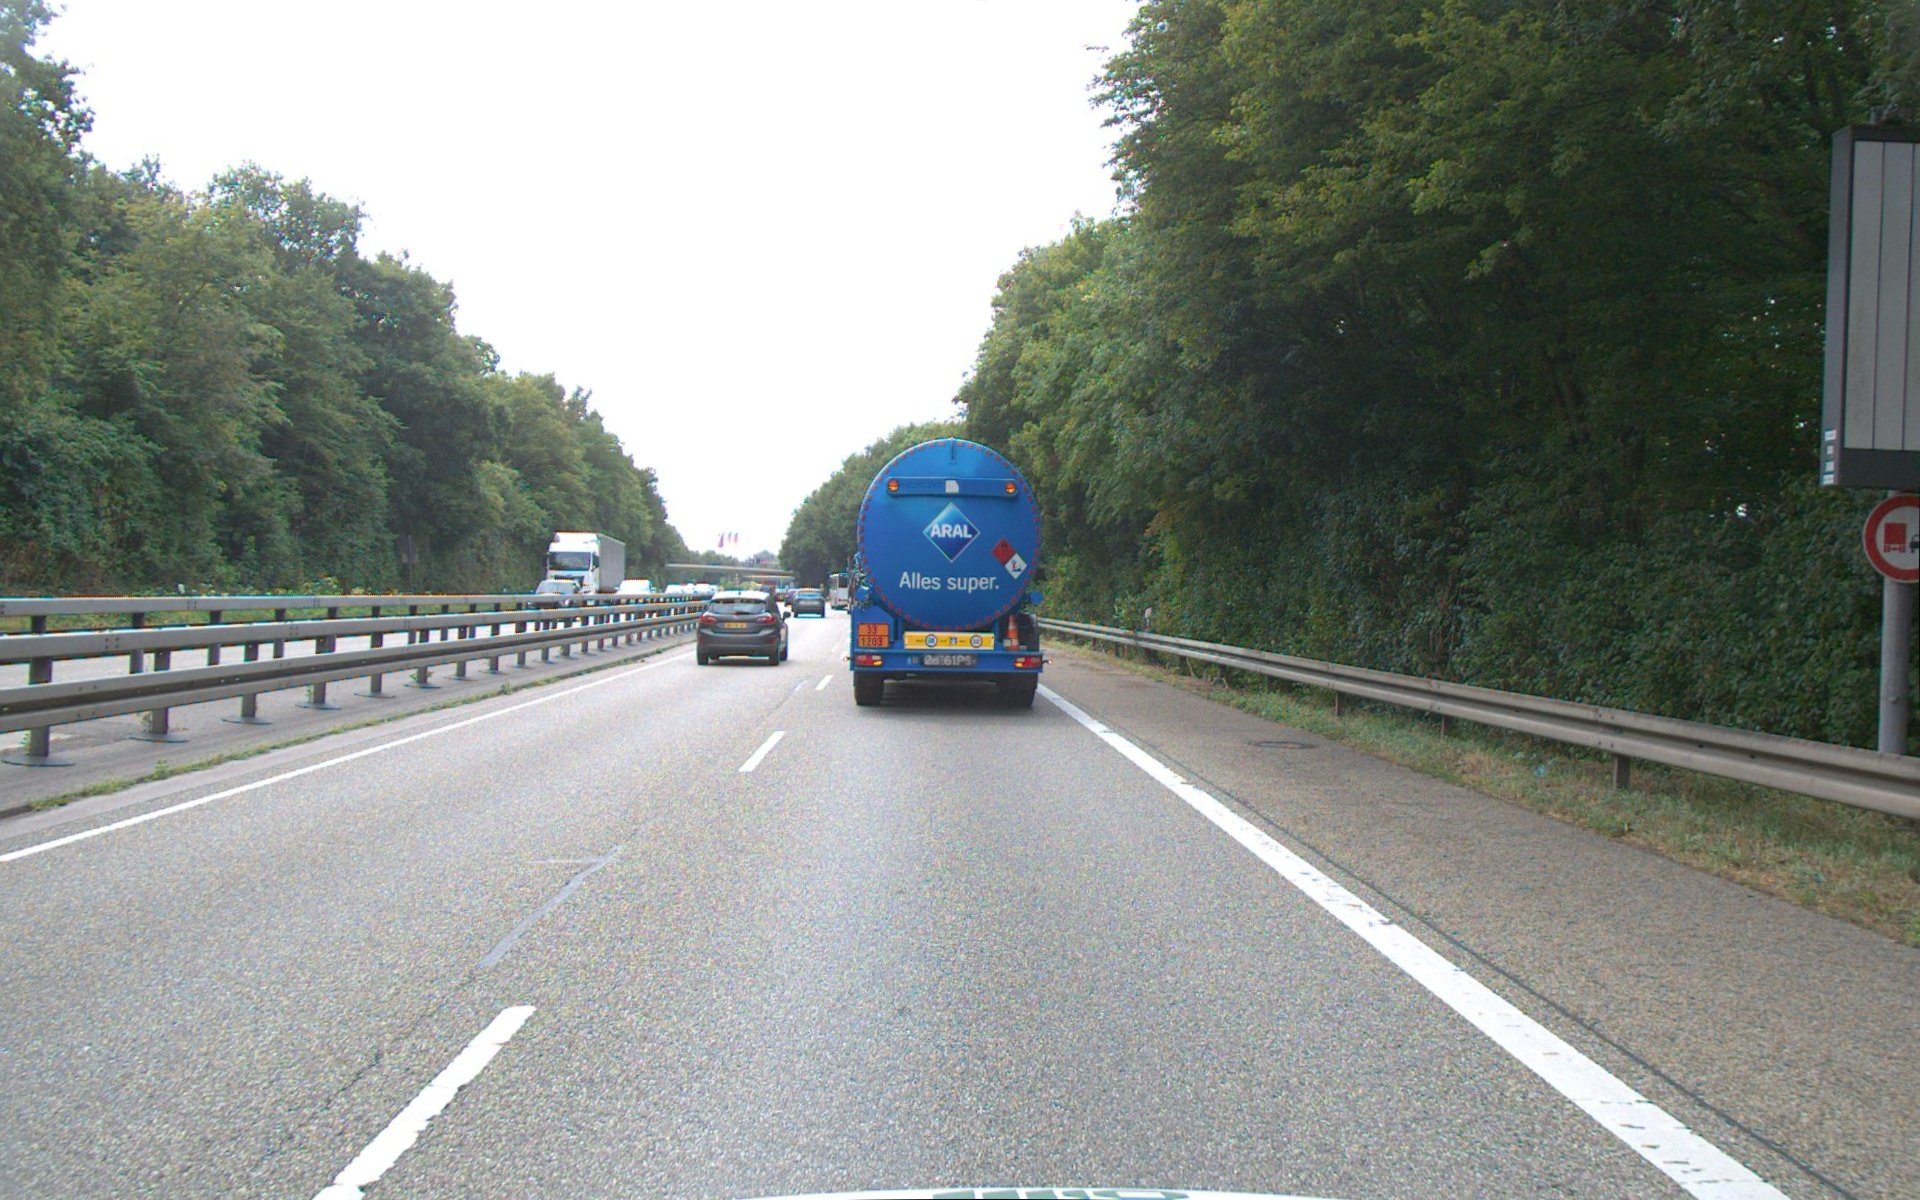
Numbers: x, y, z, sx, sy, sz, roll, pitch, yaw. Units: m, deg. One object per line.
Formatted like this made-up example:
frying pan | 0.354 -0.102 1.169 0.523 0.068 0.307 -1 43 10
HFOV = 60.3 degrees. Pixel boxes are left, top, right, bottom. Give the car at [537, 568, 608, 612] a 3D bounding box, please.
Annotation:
car | -13.377 -0.330 57.269 1.674 1.472 3.775 0 0 -2

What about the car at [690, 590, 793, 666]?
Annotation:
car | -4.553 0.550 35.003 1.790 1.483 4.637 0 0 -3

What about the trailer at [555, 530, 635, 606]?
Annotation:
trailer | -21.054 -1.744 96.123 2.611 4.117 12.862 0 0 -4

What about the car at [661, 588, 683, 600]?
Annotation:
car | -29.121 -0.611 167.136 1.707 1.210 4.287 0 0 -4

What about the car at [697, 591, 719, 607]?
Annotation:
car | -23.095 -0.067 151.525 1.611 1.413 4.287 0 0 -4

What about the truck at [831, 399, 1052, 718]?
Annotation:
truck | -0.275 -0.536 24.205 2.699 3.914 7.687 0 0 -1

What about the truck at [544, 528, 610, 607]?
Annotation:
truck | -20.584 -1.715 89.088 2.639 4.134 5.318 0 0 -4

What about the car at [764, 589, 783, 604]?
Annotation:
car | -20.765 -0.383 184.265 1.916 1.595 3.996 0 0 -4

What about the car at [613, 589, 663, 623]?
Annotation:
car | -15.352 0.282 79.058 1.756 1.576 4.126 0 0 -3

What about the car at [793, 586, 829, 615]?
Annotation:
car | -8.471 0.015 93.648 1.792 1.637 4.159 0 0 -9

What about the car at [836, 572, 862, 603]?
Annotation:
car | -8.494 -0.960 127.004 1.954 2.284 3.998 0 0 -3

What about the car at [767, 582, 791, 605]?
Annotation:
car | -16.055 -0.581 146.717 1.956 2.049 3.993 0 0 -8

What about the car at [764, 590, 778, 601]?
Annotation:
car | -27.988 -0.720 245.008 1.955 1.579 3.996 0 0 -5
